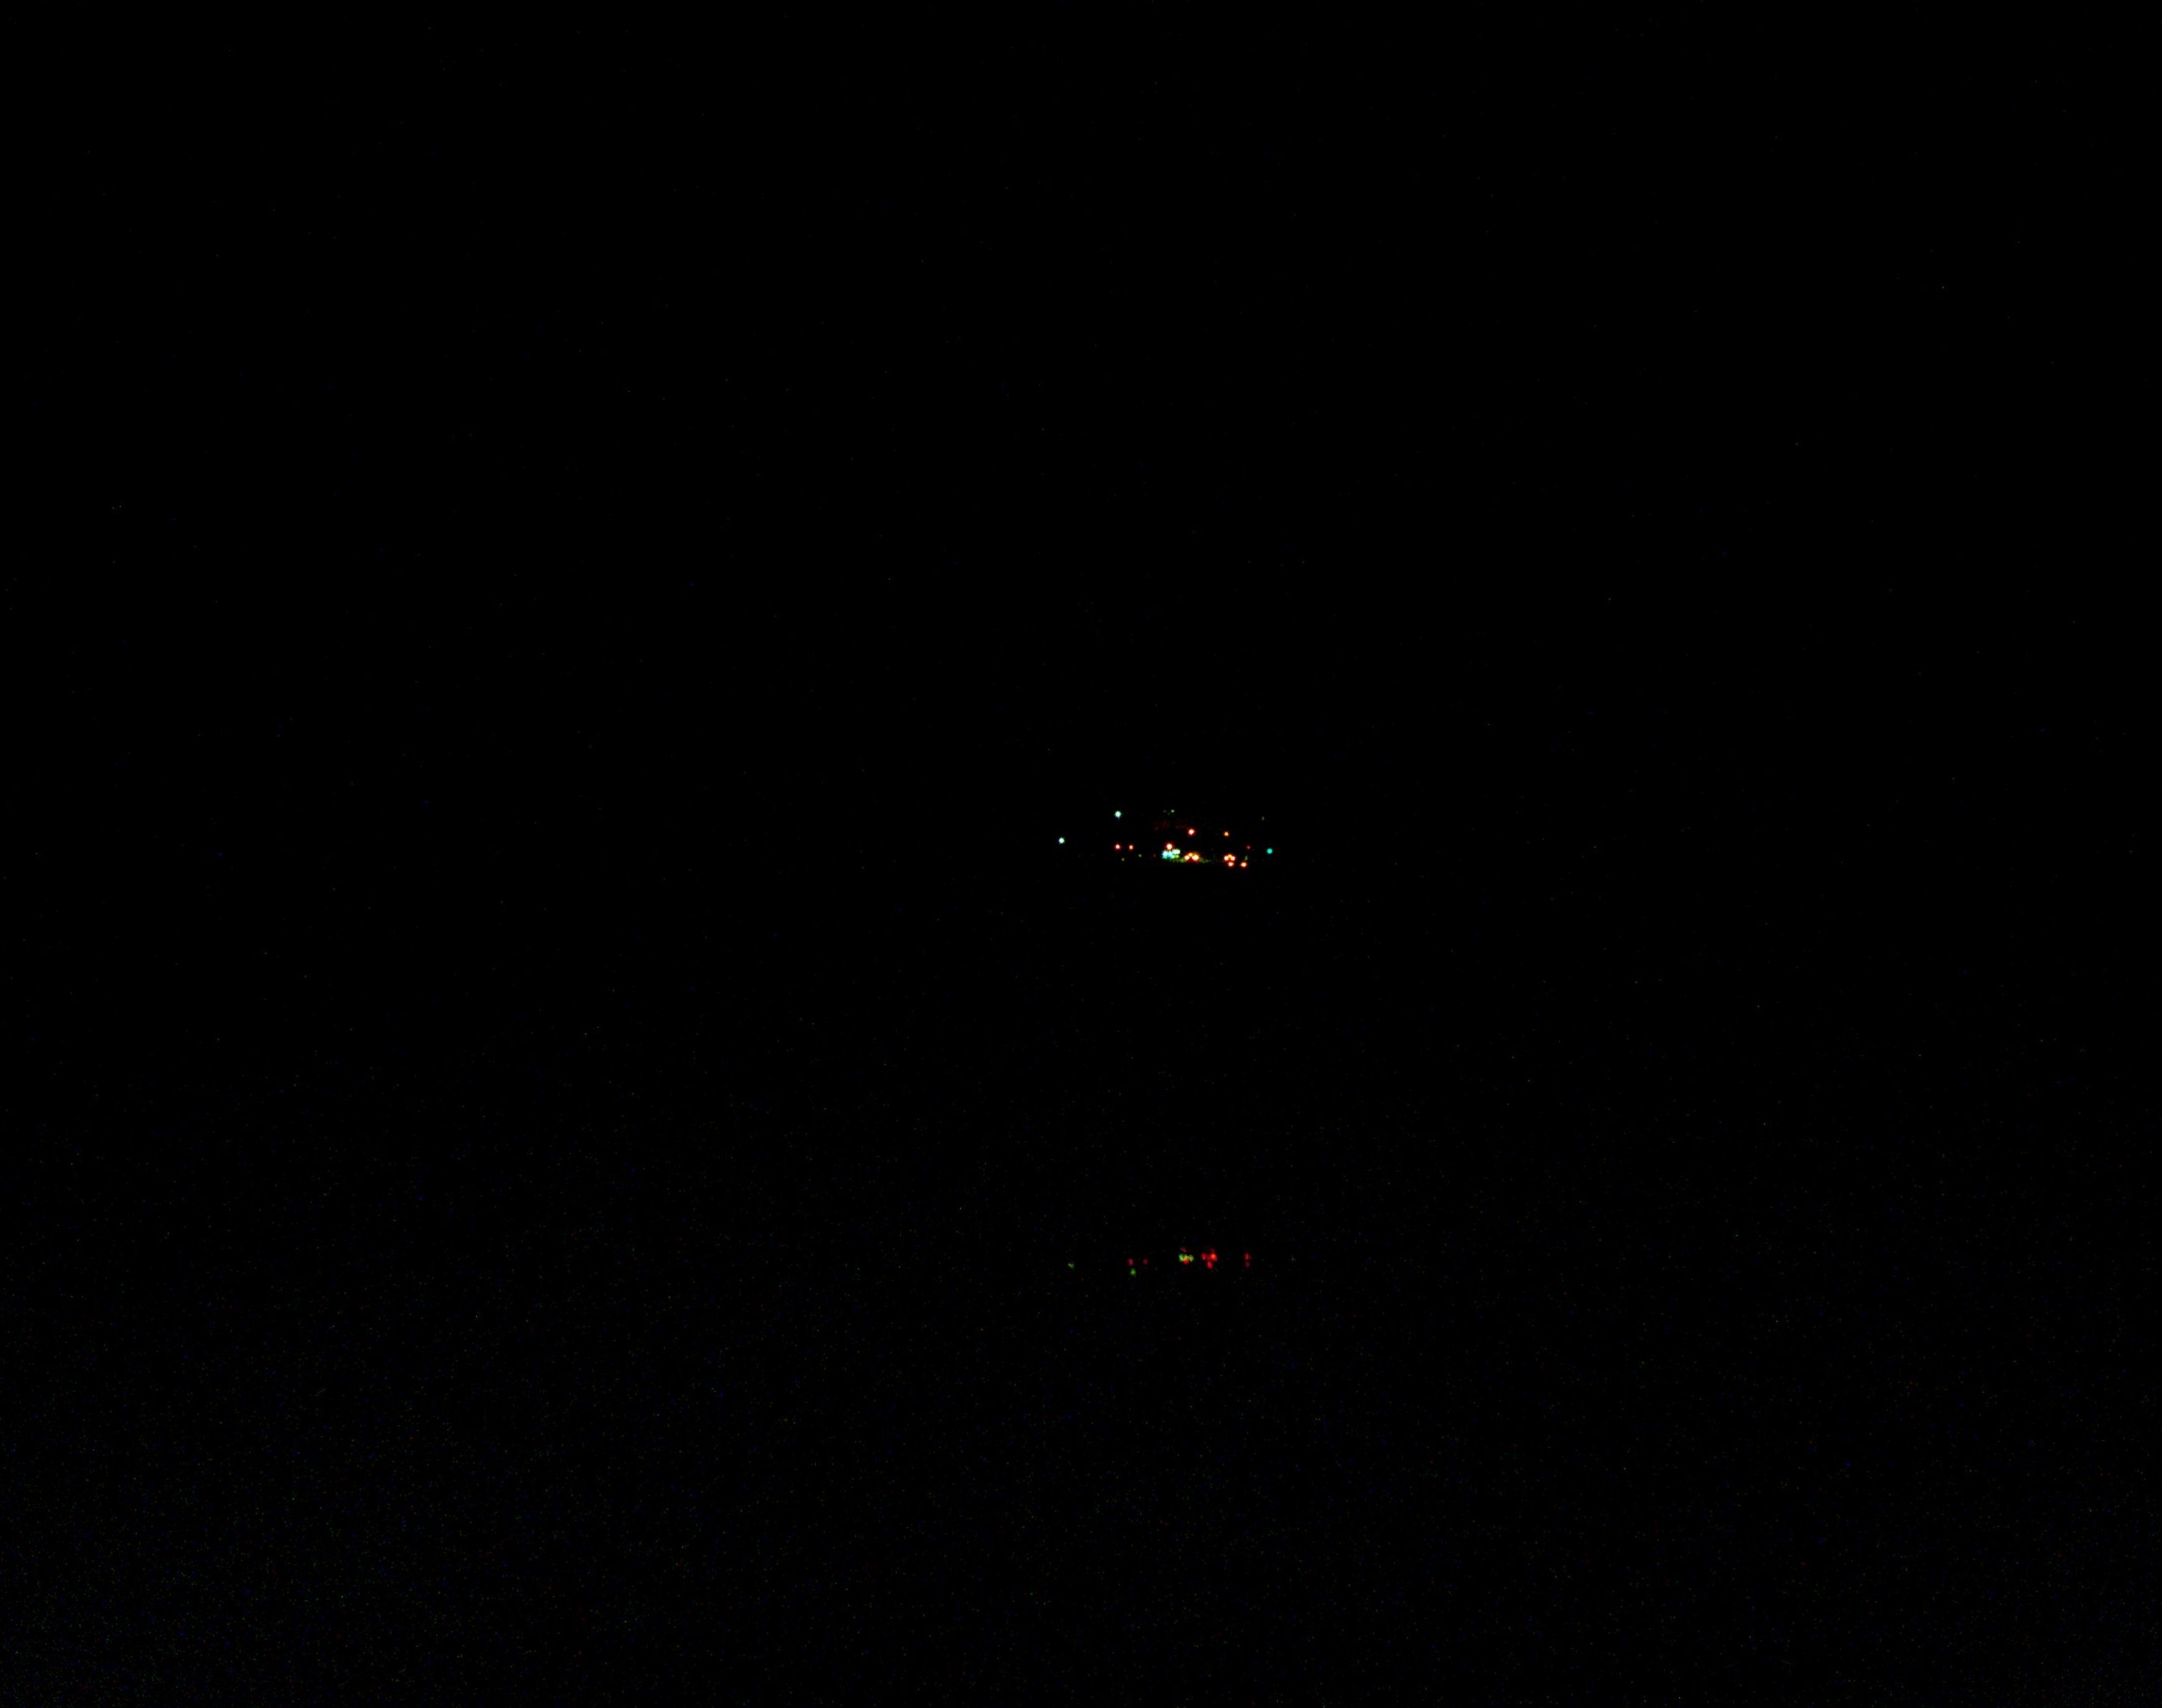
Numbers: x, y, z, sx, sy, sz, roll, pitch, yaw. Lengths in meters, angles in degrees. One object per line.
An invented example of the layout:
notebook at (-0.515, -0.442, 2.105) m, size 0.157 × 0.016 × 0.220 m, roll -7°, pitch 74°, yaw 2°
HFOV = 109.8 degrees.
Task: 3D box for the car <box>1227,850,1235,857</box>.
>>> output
car at (33.387, -0.141, 169.127) m, size 1.655 × 1.467 × 4.002 m, roll -2°, pitch 1°, yaw 11°

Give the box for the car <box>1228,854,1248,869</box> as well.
car at (17.061, 0.804, 82.598) m, size 1.723 × 1.439 × 4.383 m, roll -2°, pitch 1°, yaw 6°
